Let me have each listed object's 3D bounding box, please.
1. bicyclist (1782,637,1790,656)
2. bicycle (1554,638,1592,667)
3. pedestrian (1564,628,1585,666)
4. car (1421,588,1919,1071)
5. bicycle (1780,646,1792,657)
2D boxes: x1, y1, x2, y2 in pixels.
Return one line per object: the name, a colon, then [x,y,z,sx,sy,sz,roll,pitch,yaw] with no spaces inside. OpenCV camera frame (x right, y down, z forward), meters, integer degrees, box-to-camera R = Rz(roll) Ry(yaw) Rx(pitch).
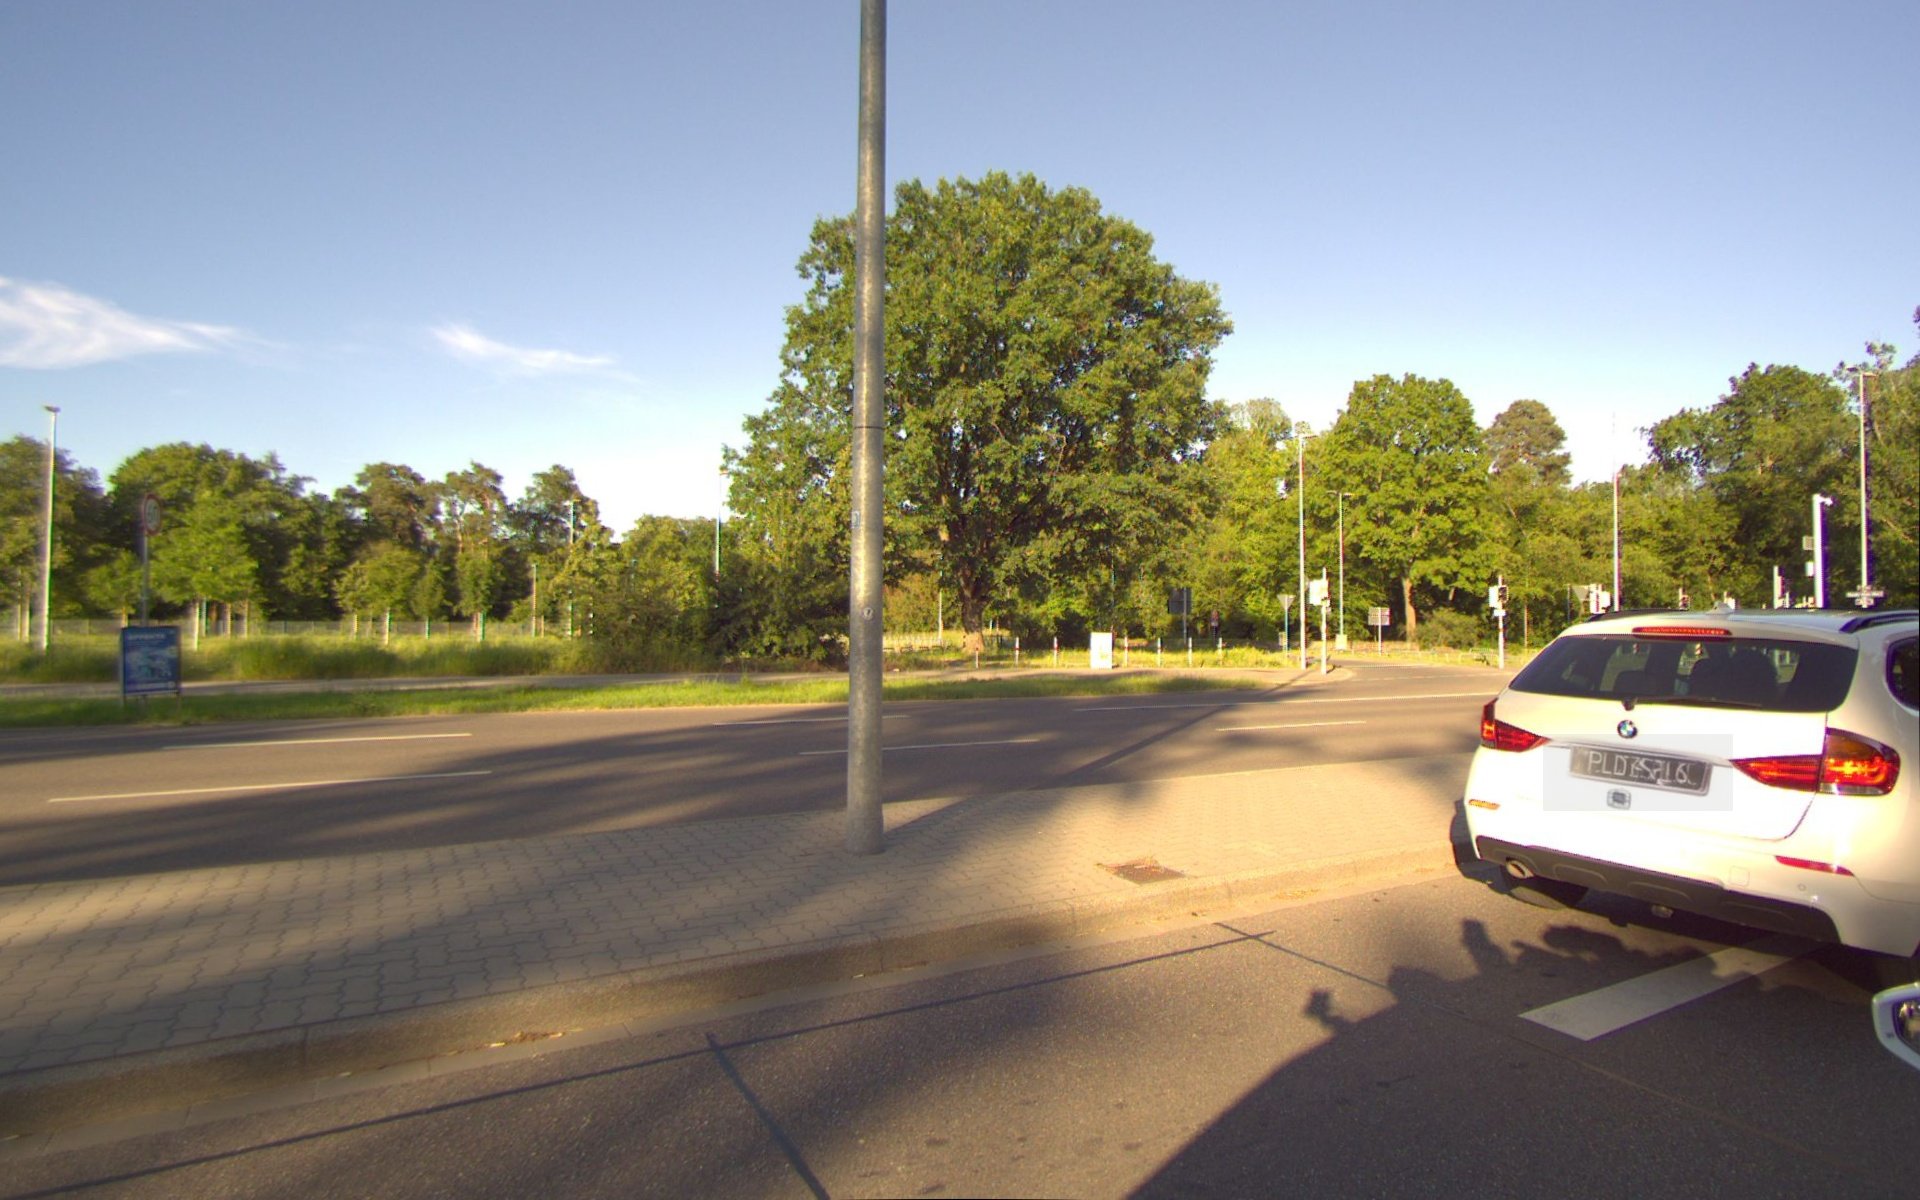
bicyclist: [44.273,2.496,53.849,0.238,0.975,0.271,2,0,-35]
bicycle: [26.128,2.238,42.798,1.980,1.193,0.466,2,0,-31]
pedestrian: [26.193,1.997,42.827,0.641,1.583,0.479,2,0,-30]
car: [4.532,0.784,5.189,4.382,1.602,1.710,1,0,-30]
bicycle: [44.288,2.759,53.865,0.831,0.589,0.264,2,0,-36]
